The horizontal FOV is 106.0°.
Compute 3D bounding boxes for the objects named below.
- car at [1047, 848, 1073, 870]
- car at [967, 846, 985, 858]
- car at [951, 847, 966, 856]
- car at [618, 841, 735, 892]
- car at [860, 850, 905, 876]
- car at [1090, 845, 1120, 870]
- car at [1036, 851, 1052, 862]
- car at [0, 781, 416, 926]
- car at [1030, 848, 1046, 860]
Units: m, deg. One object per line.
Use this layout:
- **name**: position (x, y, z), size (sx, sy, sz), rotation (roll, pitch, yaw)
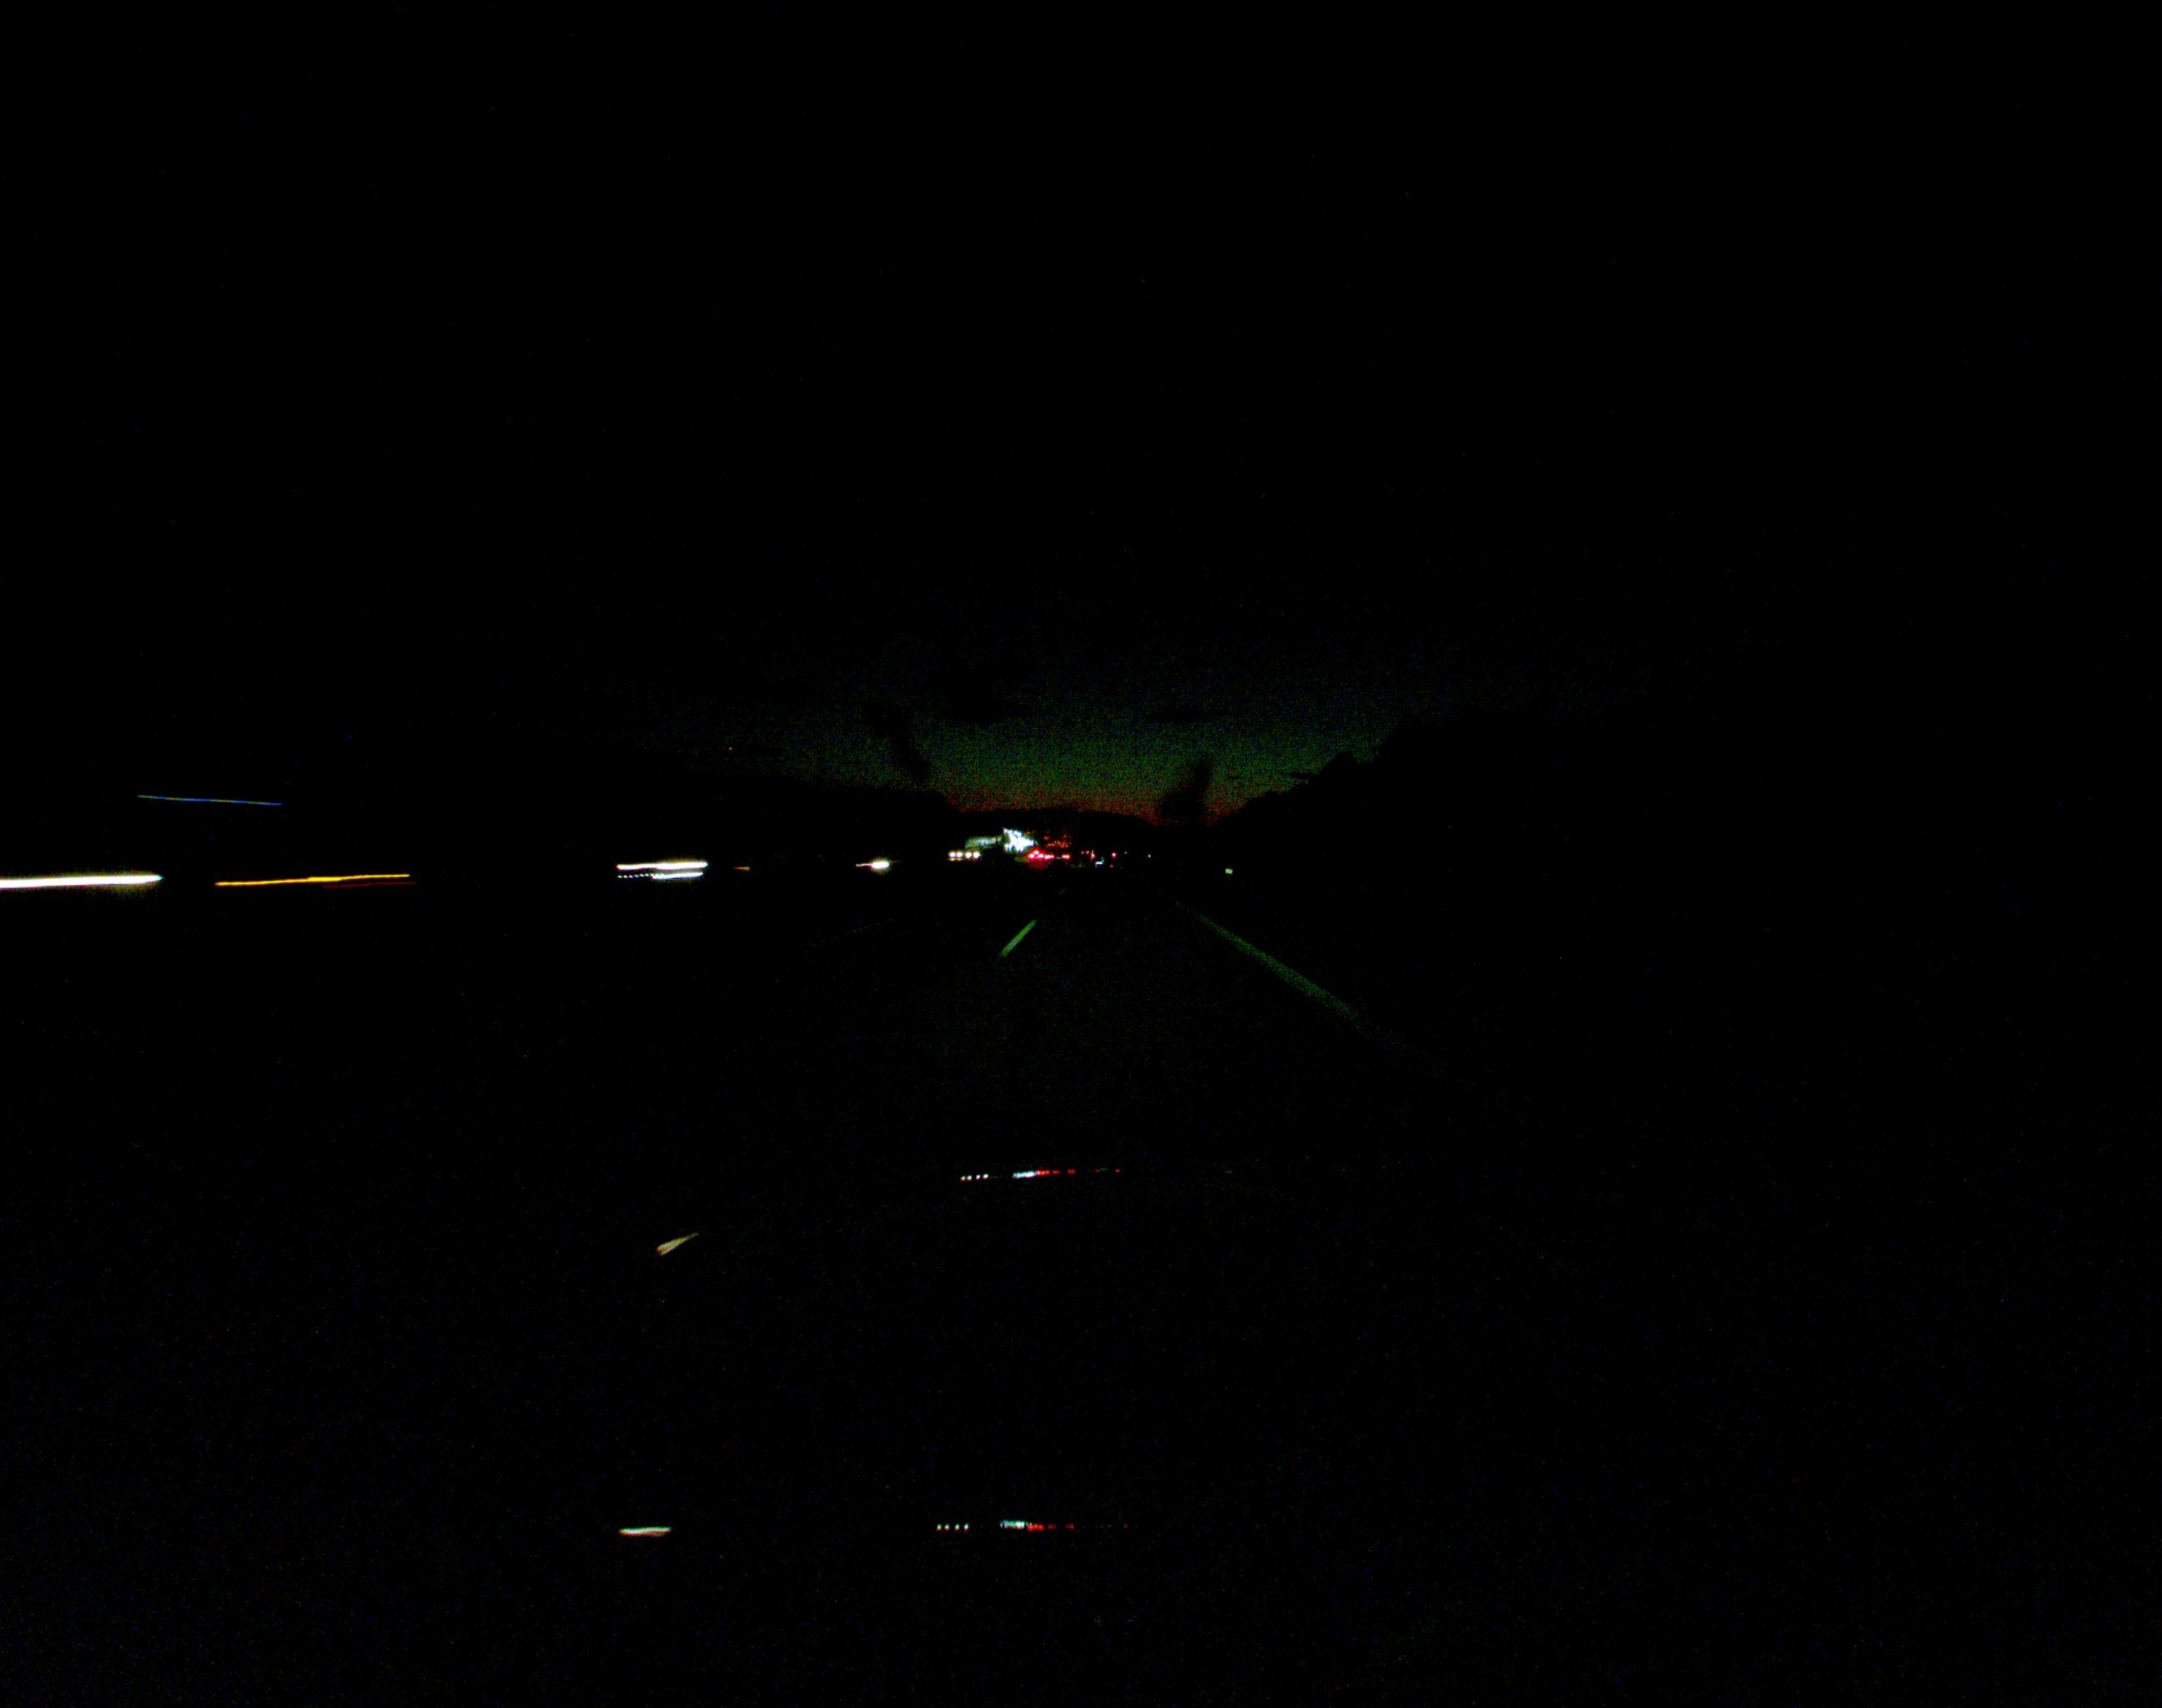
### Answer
- **car**: position (-1.788, 0.435, 70.864), size (1.986, 1.721, 5.943), rotation (-1, 0, 1)
- **car**: position (-16.761, -0.285, 130.541), size (2.097, 1.885, 4.660), rotation (0, 0, 1)
- **car**: position (-21.379, -0.404, 142.302), size (1.768, 1.429, 4.660), rotation (0, 0, 1)
- **car**: position (-16.164, 0.443, 32.960), size (2.139, 1.885, 5.420), rotation (0, 0, -2)
- **car**: position (-14.044, 0.628, 57.865), size (1.986, 1.734, 4.660), rotation (0, 0, 1)
- **car**: position (1.885, 0.245, 65.758), size (2.190, 1.955, 4.762), rotation (-1, 1, 0)
- **car**: position (-5.317, 0.350, 117.339), size (1.773, 1.486, 5.256), rotation (-3, 1, 2)
- **car**: position (-21.587, -0.019, 20.639), size (2.449, 2.936, 8.335), rotation (0, 0, 1)
- **car**: position (-5.418, 0.020, 103.025), size (1.544, 1.431, 5.514), rotation (-1, 0, 1)
